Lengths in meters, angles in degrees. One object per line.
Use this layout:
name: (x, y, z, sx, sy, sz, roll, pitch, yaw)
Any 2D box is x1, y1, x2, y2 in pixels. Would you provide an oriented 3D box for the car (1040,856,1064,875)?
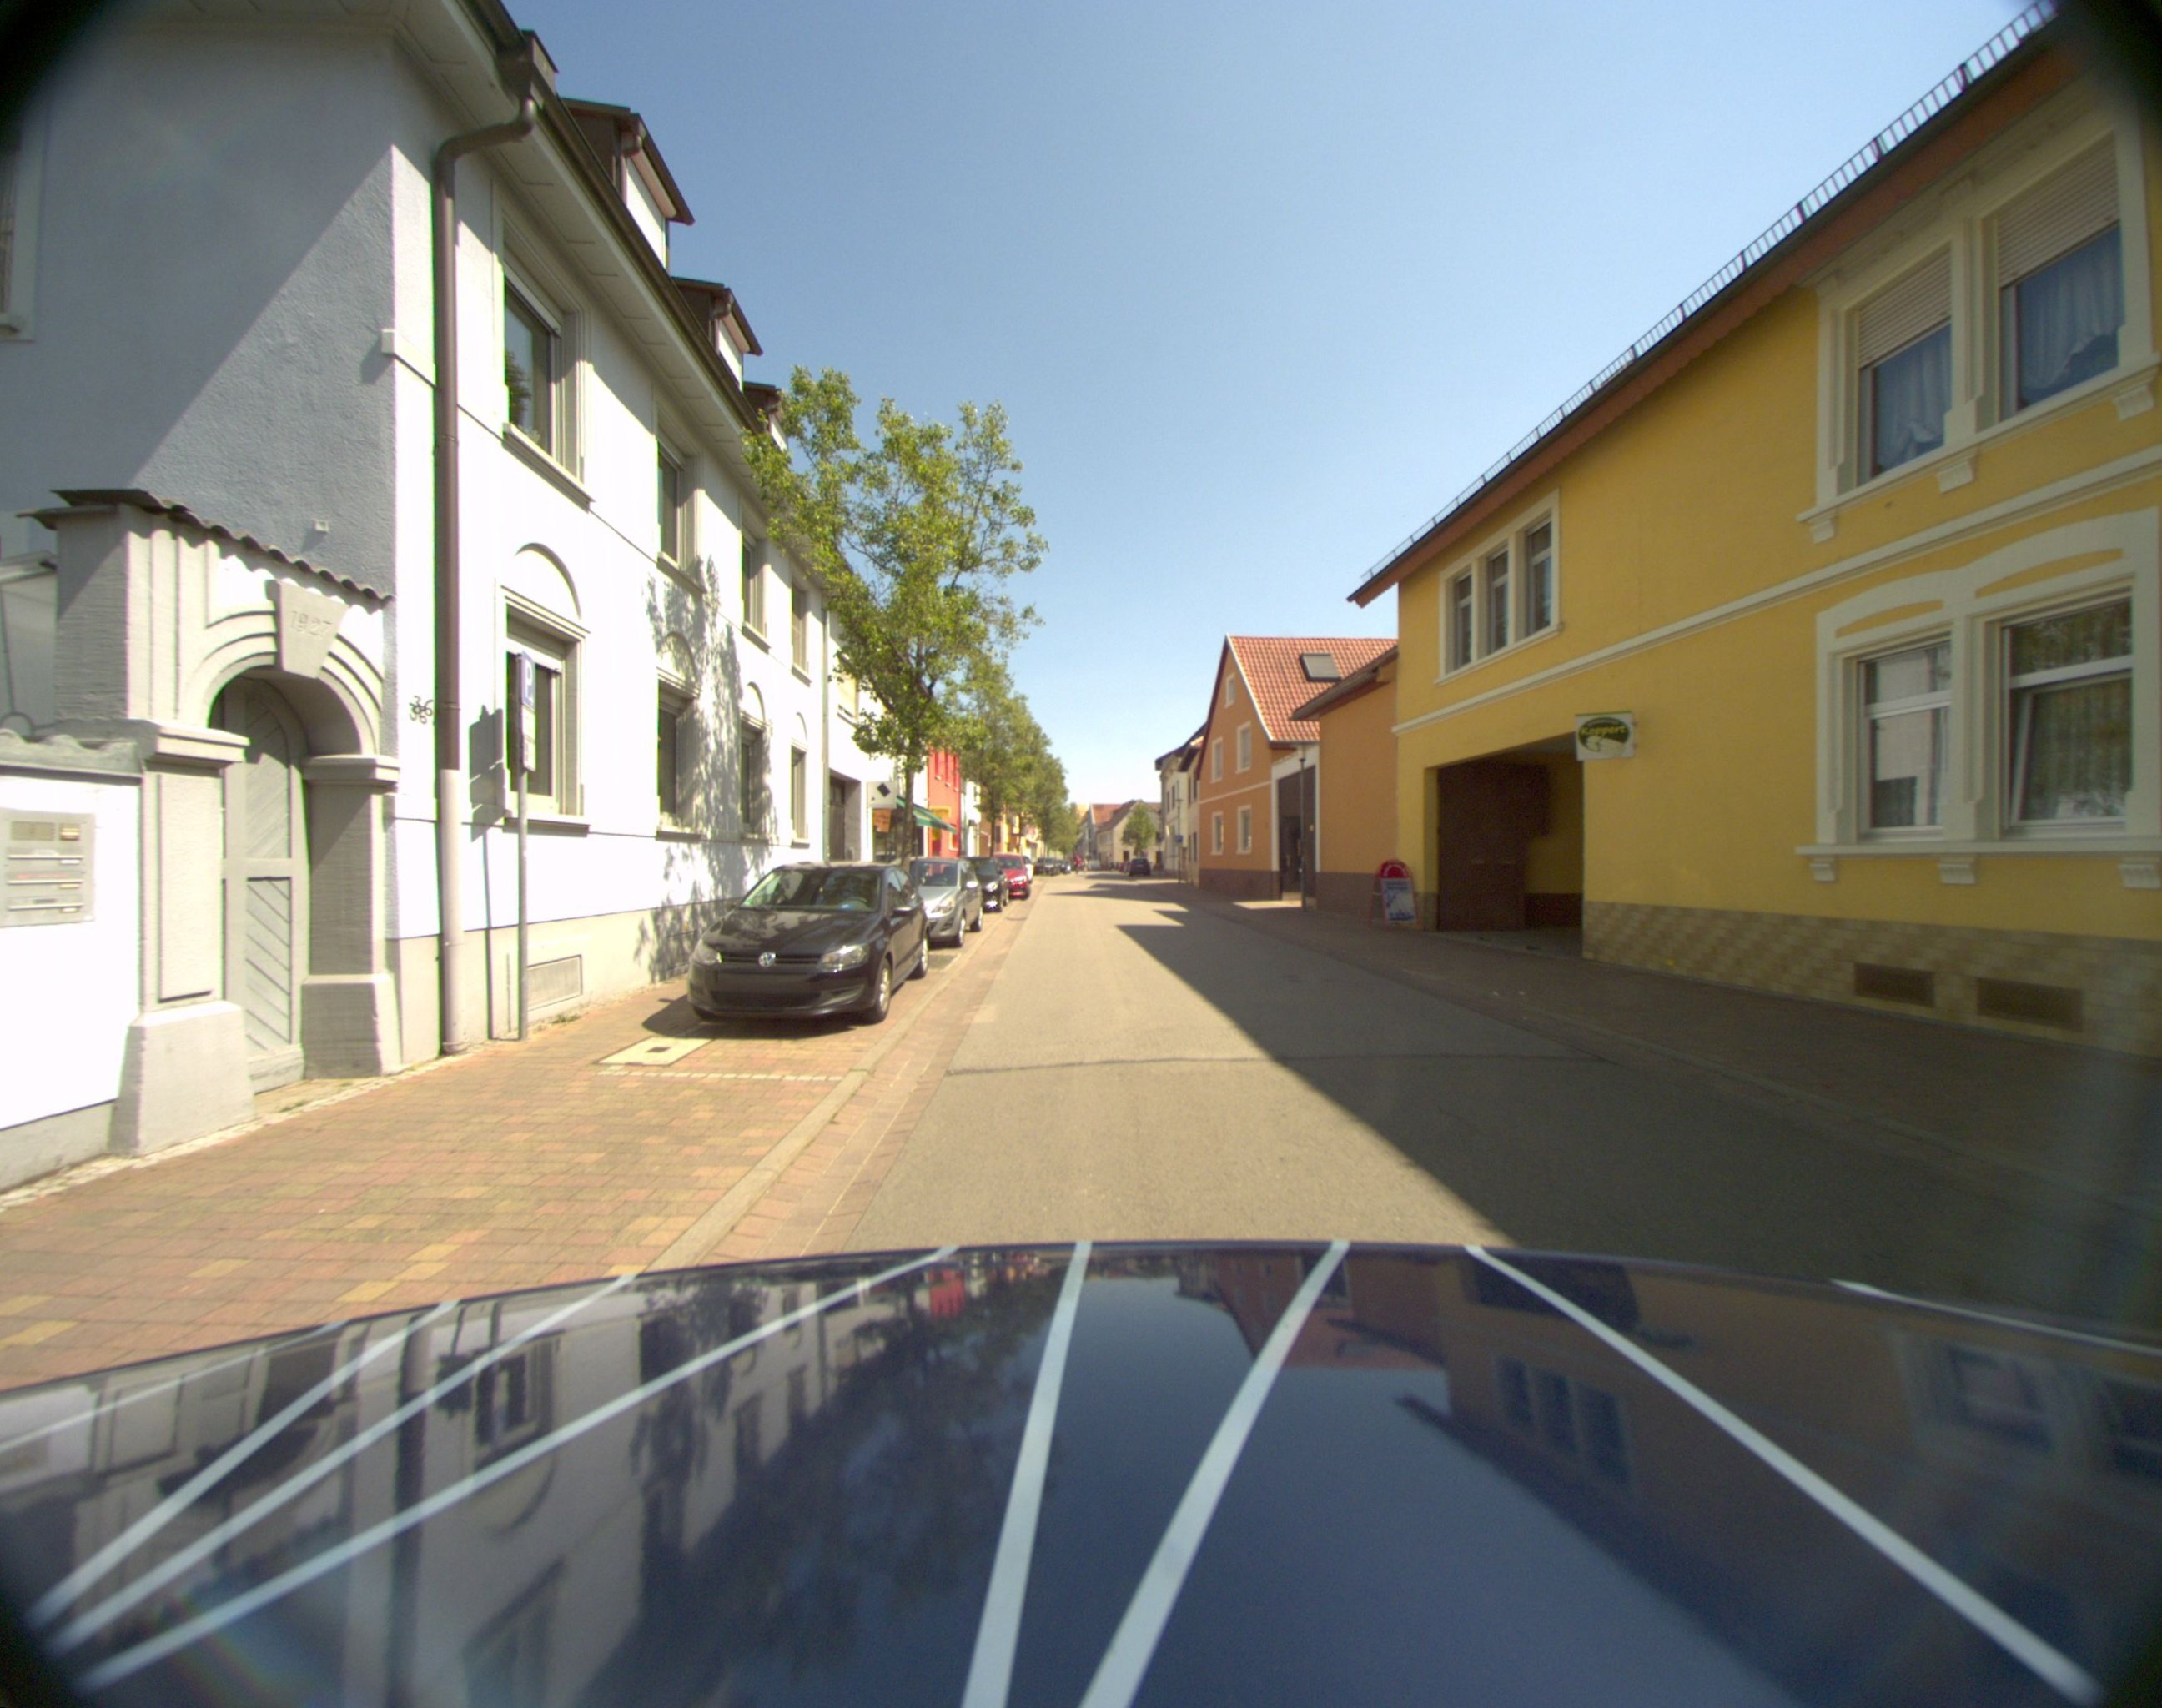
car: (-2.723, 1.101, 71.959, 1.998, 1.759, 4.109, 0, 0, 2)

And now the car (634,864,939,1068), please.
car: (-2.625, 0.889, 7.794, 1.708, 1.472, 3.920, 2, 0, -2)

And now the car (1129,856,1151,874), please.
car: (5.455, 0.996, 70.323, 1.916, 1.605, 3.987, 0, 0, 4)

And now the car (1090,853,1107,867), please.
car: (2.876, 0.988, 128.474, 2.444, 2.223, 4.958, 0, 0, -4)

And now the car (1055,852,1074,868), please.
car: (-1.891, 0.716, 87.423, 1.998, 1.759, 4.109, 0, 0, 2)

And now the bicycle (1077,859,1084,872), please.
bicycle: (-0.087, 1.184, 77.846, 0.635, 1.227, 1.894, 2, -1, 1)

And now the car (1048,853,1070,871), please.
car: (-2.252, 0.796, 78.616, 1.998, 1.759, 4.109, 0, 0, 2)

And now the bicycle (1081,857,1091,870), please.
bicycle: (0.579, 1.076, 85.880, 0.960, 1.363, 2.406, 0, 0, 2)

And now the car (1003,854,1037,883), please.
car: (-3.359, 0.770, 42.356, 1.715, 1.534, 3.997, 0, 0, -2)

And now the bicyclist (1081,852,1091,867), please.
bicyclist: (0.579, 0.602, 85.806, 1.028, 1.635, 1.025, 0, 0, 2)

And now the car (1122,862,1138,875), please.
car: (6.199, 1.853, 96.309, 1.571, 1.452, 3.801, 2, -1, -2)

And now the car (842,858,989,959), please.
car: (-2.762, 0.841, 13.571, 1.722, 1.472, 4.095, 1, 0, 0)

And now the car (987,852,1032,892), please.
car: (-3.344, 0.779, 36.091, 1.872, 1.675, 4.659, -2, 1, -3)

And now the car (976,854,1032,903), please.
car: (-2.735, 0.826, 27.496, 1.834, 1.579, 4.086, -1, 1, -4)

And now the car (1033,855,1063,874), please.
car: (-2.815, 0.860, 65.624, 1.928, 1.594, 4.110, 0, 0, 6)

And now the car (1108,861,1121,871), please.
car: (5.225, 1.913, 118.352, 1.572, 1.452, 3.800, 0, 0, -4)

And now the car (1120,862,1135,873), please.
car: (6.238, 1.792, 102.590, 1.572, 1.452, 3.800, 0, 0, -4)

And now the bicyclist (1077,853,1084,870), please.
bicyclist: (-0.072, 0.786, 77.911, 0.645, 1.766, 0.722, 2, -1, 1)

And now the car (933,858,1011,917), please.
car: (-2.952, 0.866, 21.235, 1.741, 1.504, 3.735, 1, 0, -2)

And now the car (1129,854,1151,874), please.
car: (5.111, 0.839, 65.617, 1.863, 1.620, 4.048, 0, 0, 5)
